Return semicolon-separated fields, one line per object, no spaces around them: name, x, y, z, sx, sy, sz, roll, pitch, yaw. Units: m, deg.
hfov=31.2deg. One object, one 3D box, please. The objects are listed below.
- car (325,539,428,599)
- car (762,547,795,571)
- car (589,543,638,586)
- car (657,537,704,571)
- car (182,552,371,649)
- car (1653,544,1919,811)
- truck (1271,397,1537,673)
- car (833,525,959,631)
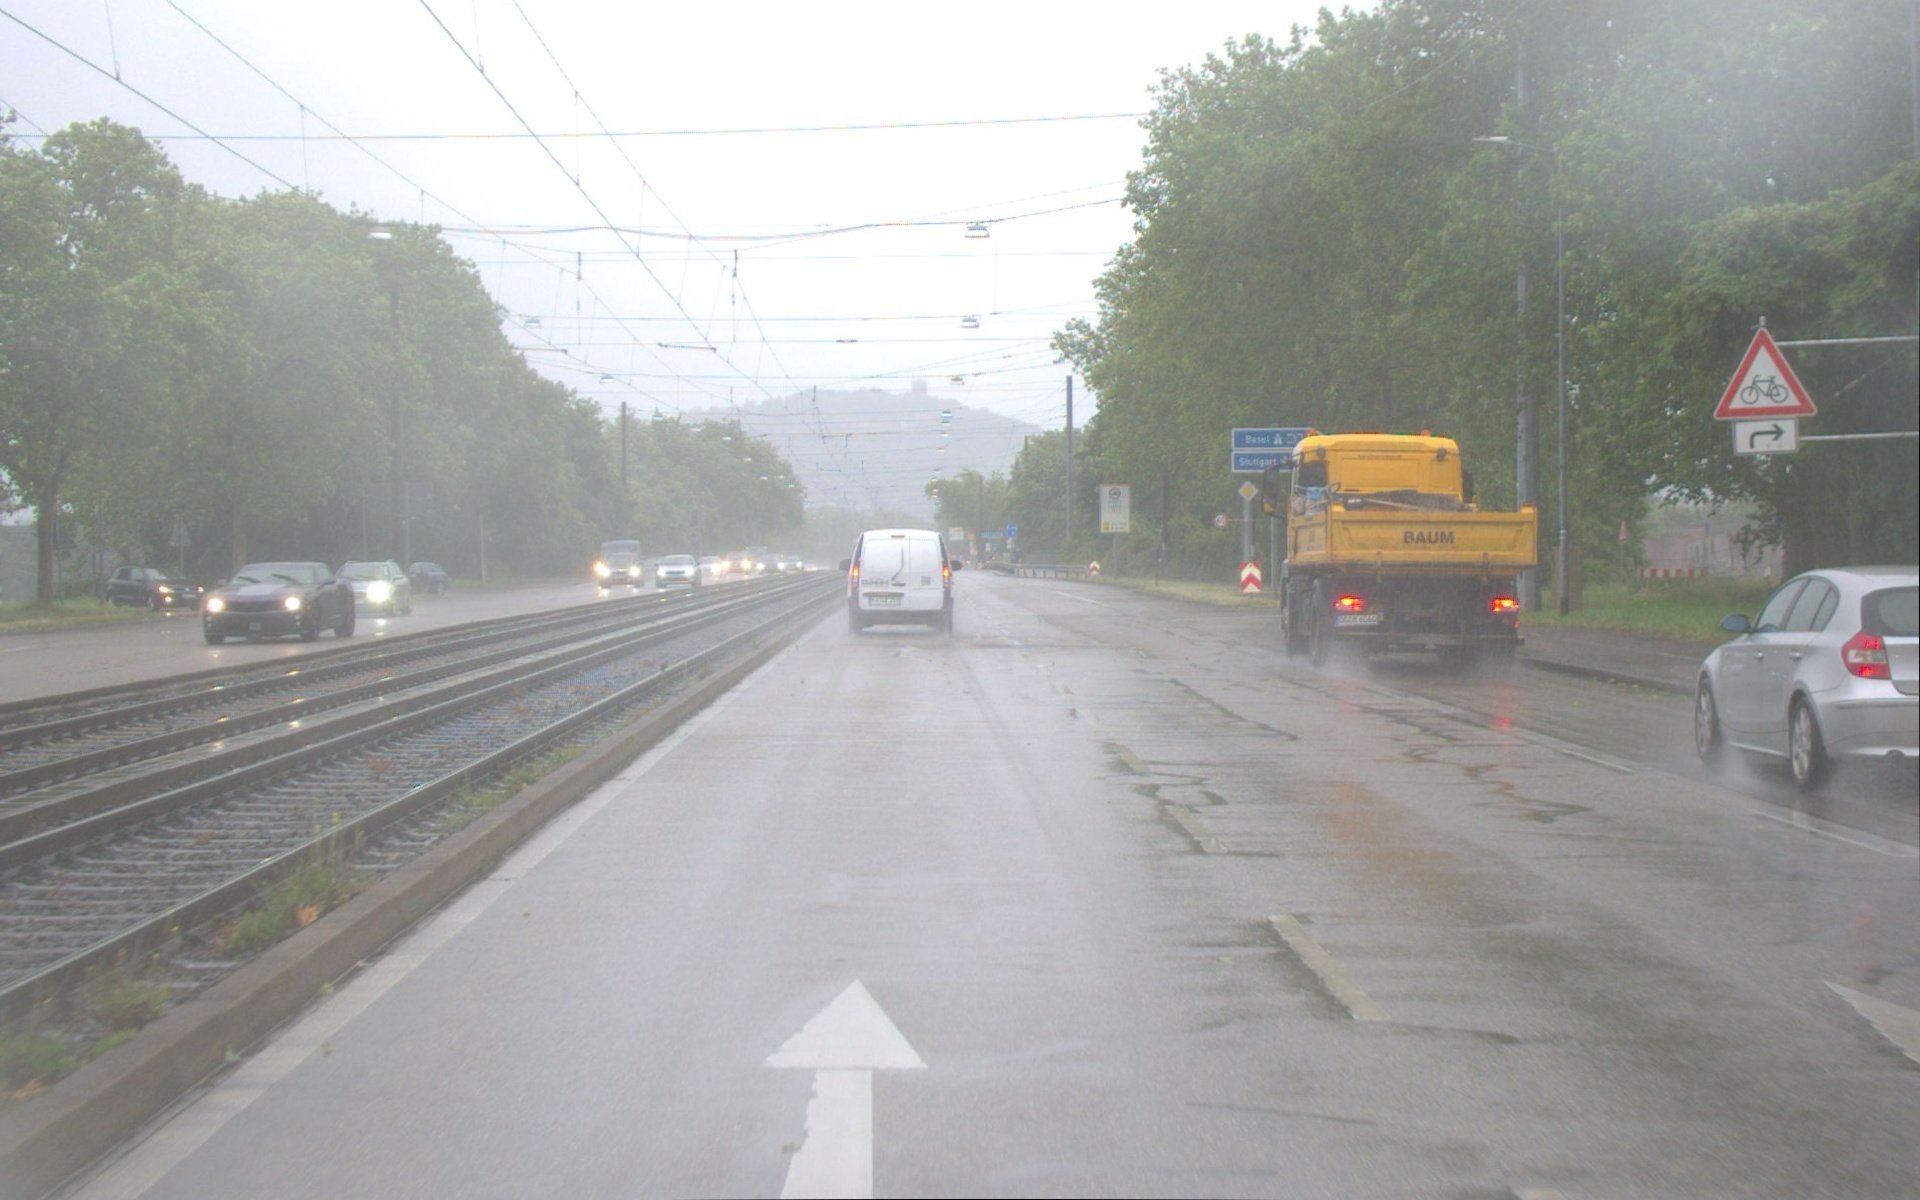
car;-14.735;-0.805;87.039;1.758;1.358;5.072;1;2;-1
car;-12.758;-2.924;242.056;1.790;1.544;5.313;1;2;3
car;-15.579;-1.608;154.779;1.887;1.803;5.005;1;2;-2
car;-12.303;-2.040;151.544;1.741;1.349;4.546;1;2;0
car;-11.871;-0.027;60.056;1.994;1.459;5.251;-2;2;2
car;5.908;0.429;22.572;1.626;1.498;4.607;1;2;-2
truck;5.601;-0.882;44.433;2.556;3.246;6.933;1;2;1
car;-1.059;-0.399;58.476;1.989;1.678;3.740;1;2;1
